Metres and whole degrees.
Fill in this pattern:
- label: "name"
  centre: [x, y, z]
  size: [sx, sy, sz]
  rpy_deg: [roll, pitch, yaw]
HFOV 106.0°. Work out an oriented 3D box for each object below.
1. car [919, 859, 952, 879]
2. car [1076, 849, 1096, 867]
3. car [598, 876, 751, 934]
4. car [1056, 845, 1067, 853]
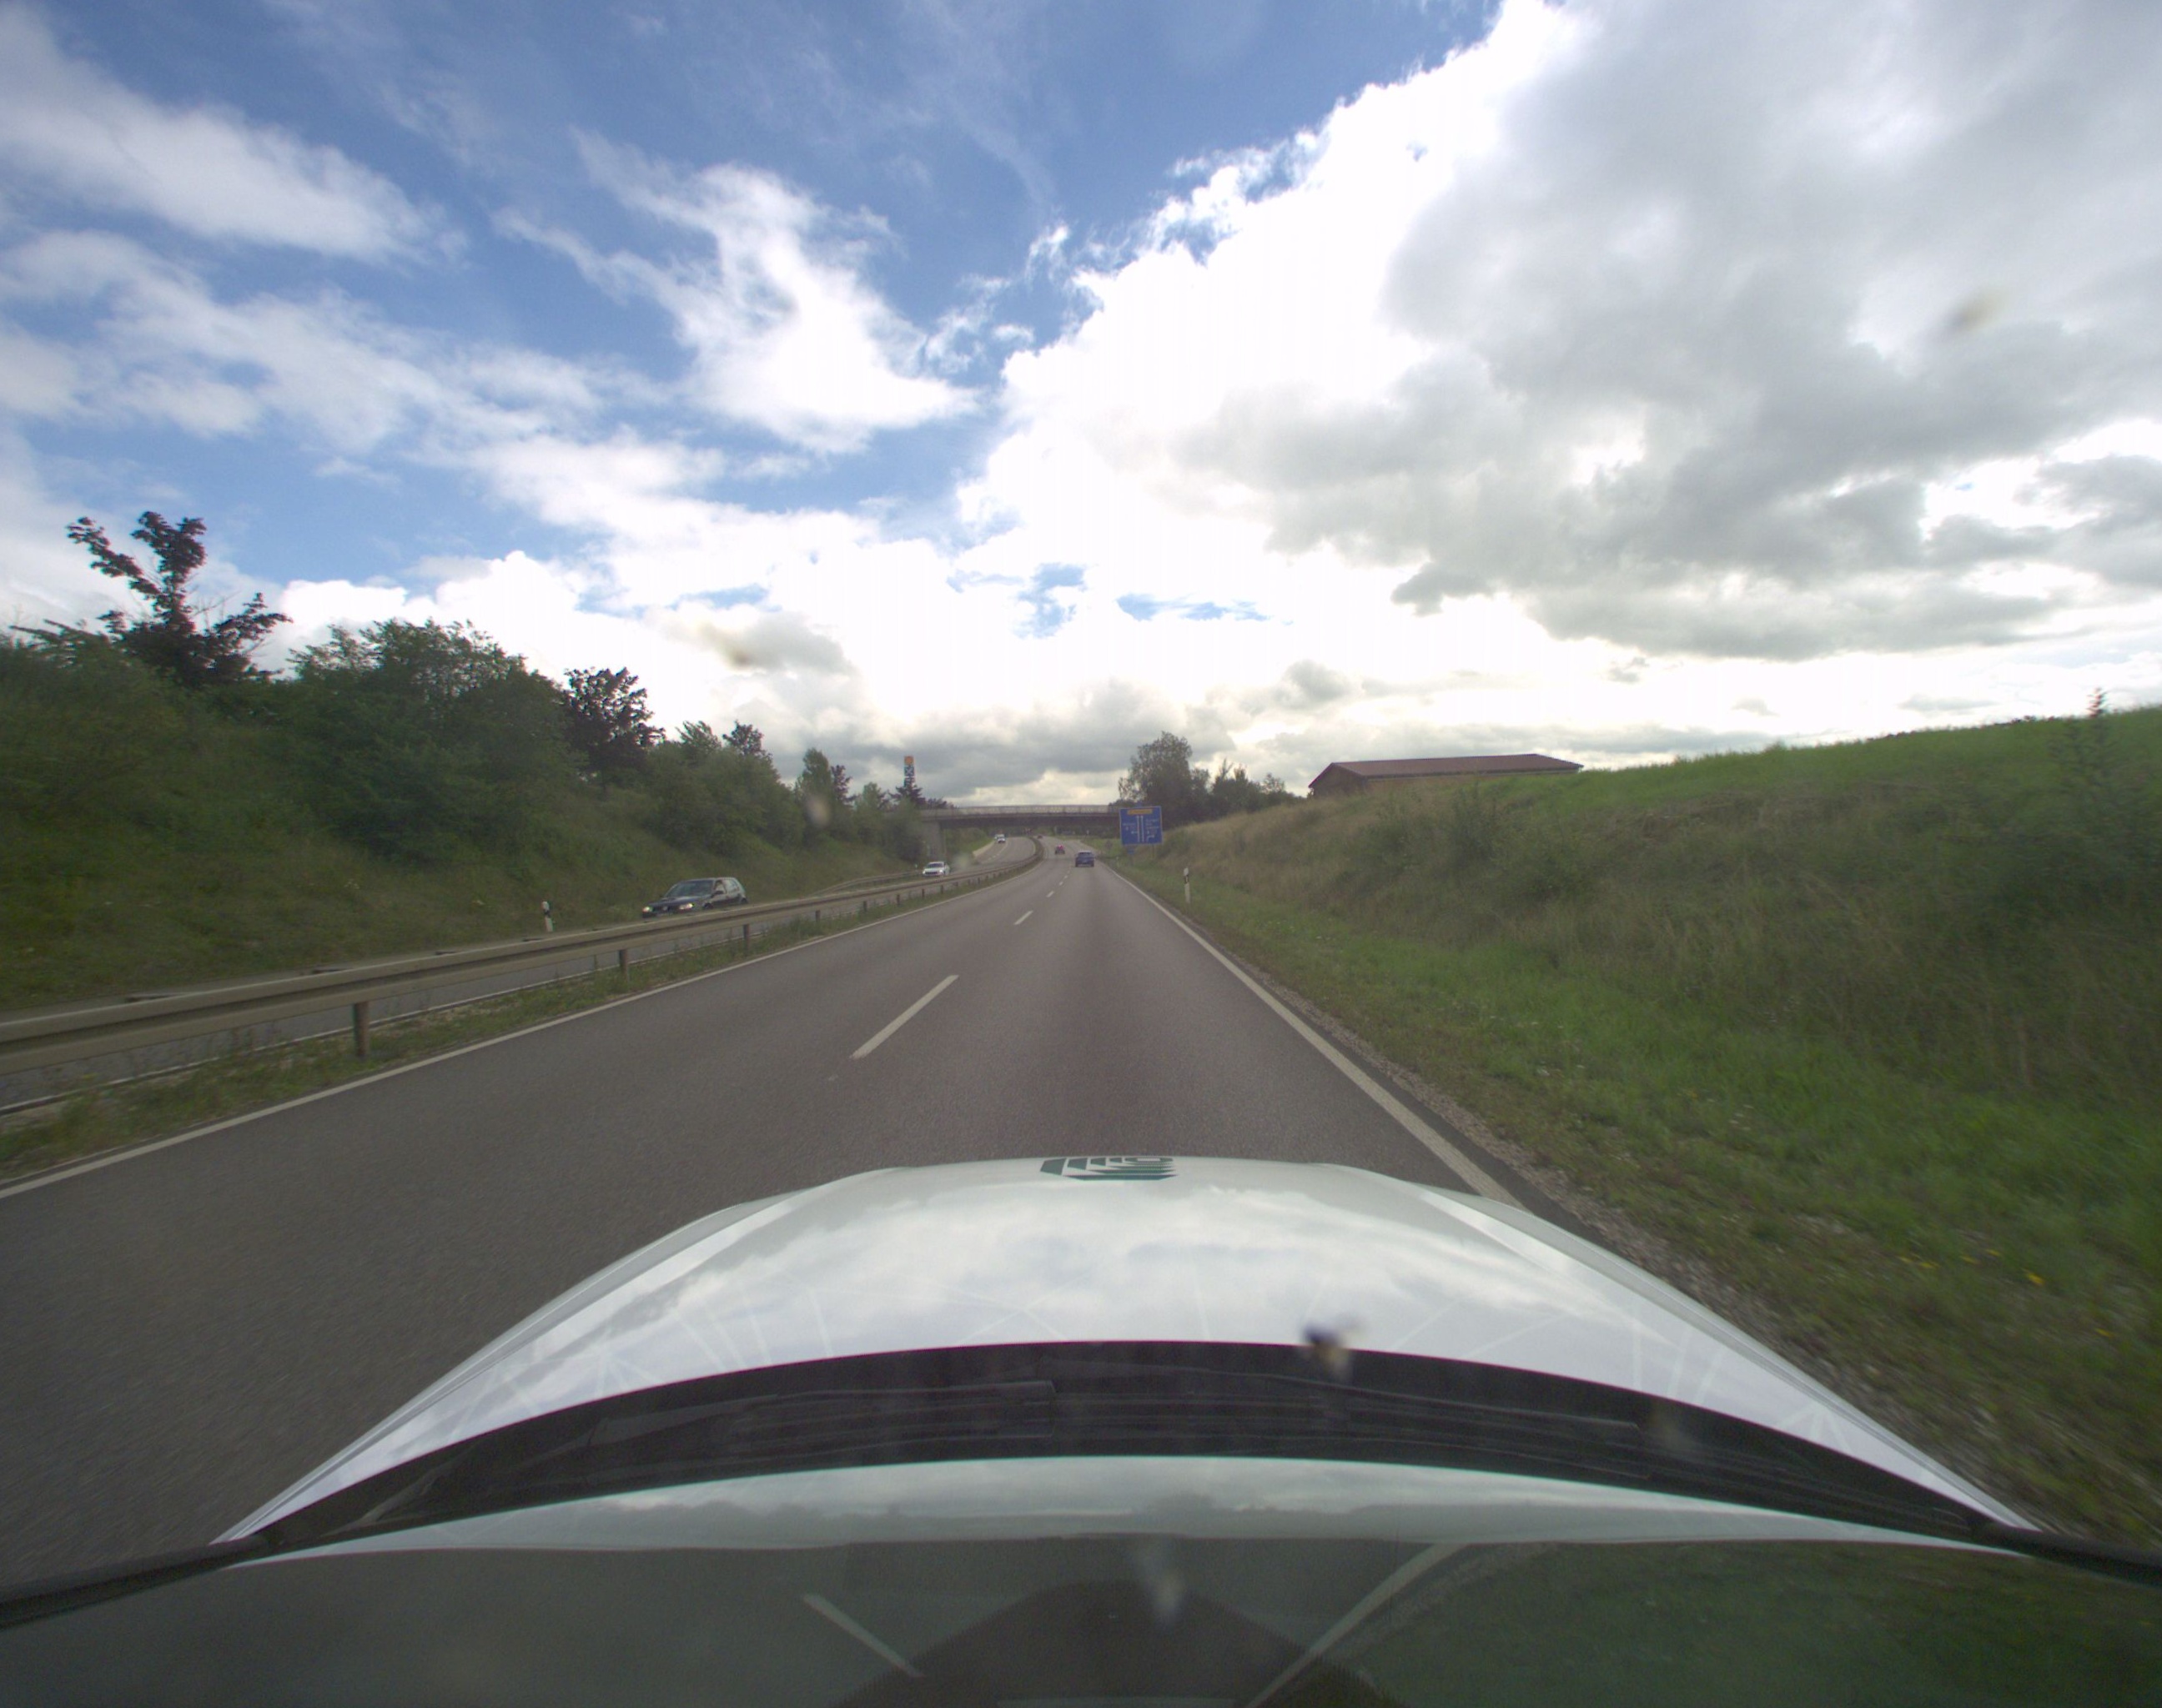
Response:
- label: "car"
  centre: [-12.203, 1.243, 68.613]
  size: [1.987, 1.453, 4.001]
  rpy_deg: [-3, 1, 1]
- label: "car"
  centre: [0.510, 0.432, 83.709]
  size: [2.026, 1.660, 4.543]
  rpy_deg: [-1, 1, 0]
- label: "car"
  centre: [-11.937, 1.447, 24.347]
  size: [1.986, 1.304, 4.823]
  rpy_deg: [-3, 0, 1]
- label: "car"
  centre: [-3.513, -0.904, 145.514]
  size: [1.911, 1.453, 4.362]
  rpy_deg: [-3, 1, -1]
